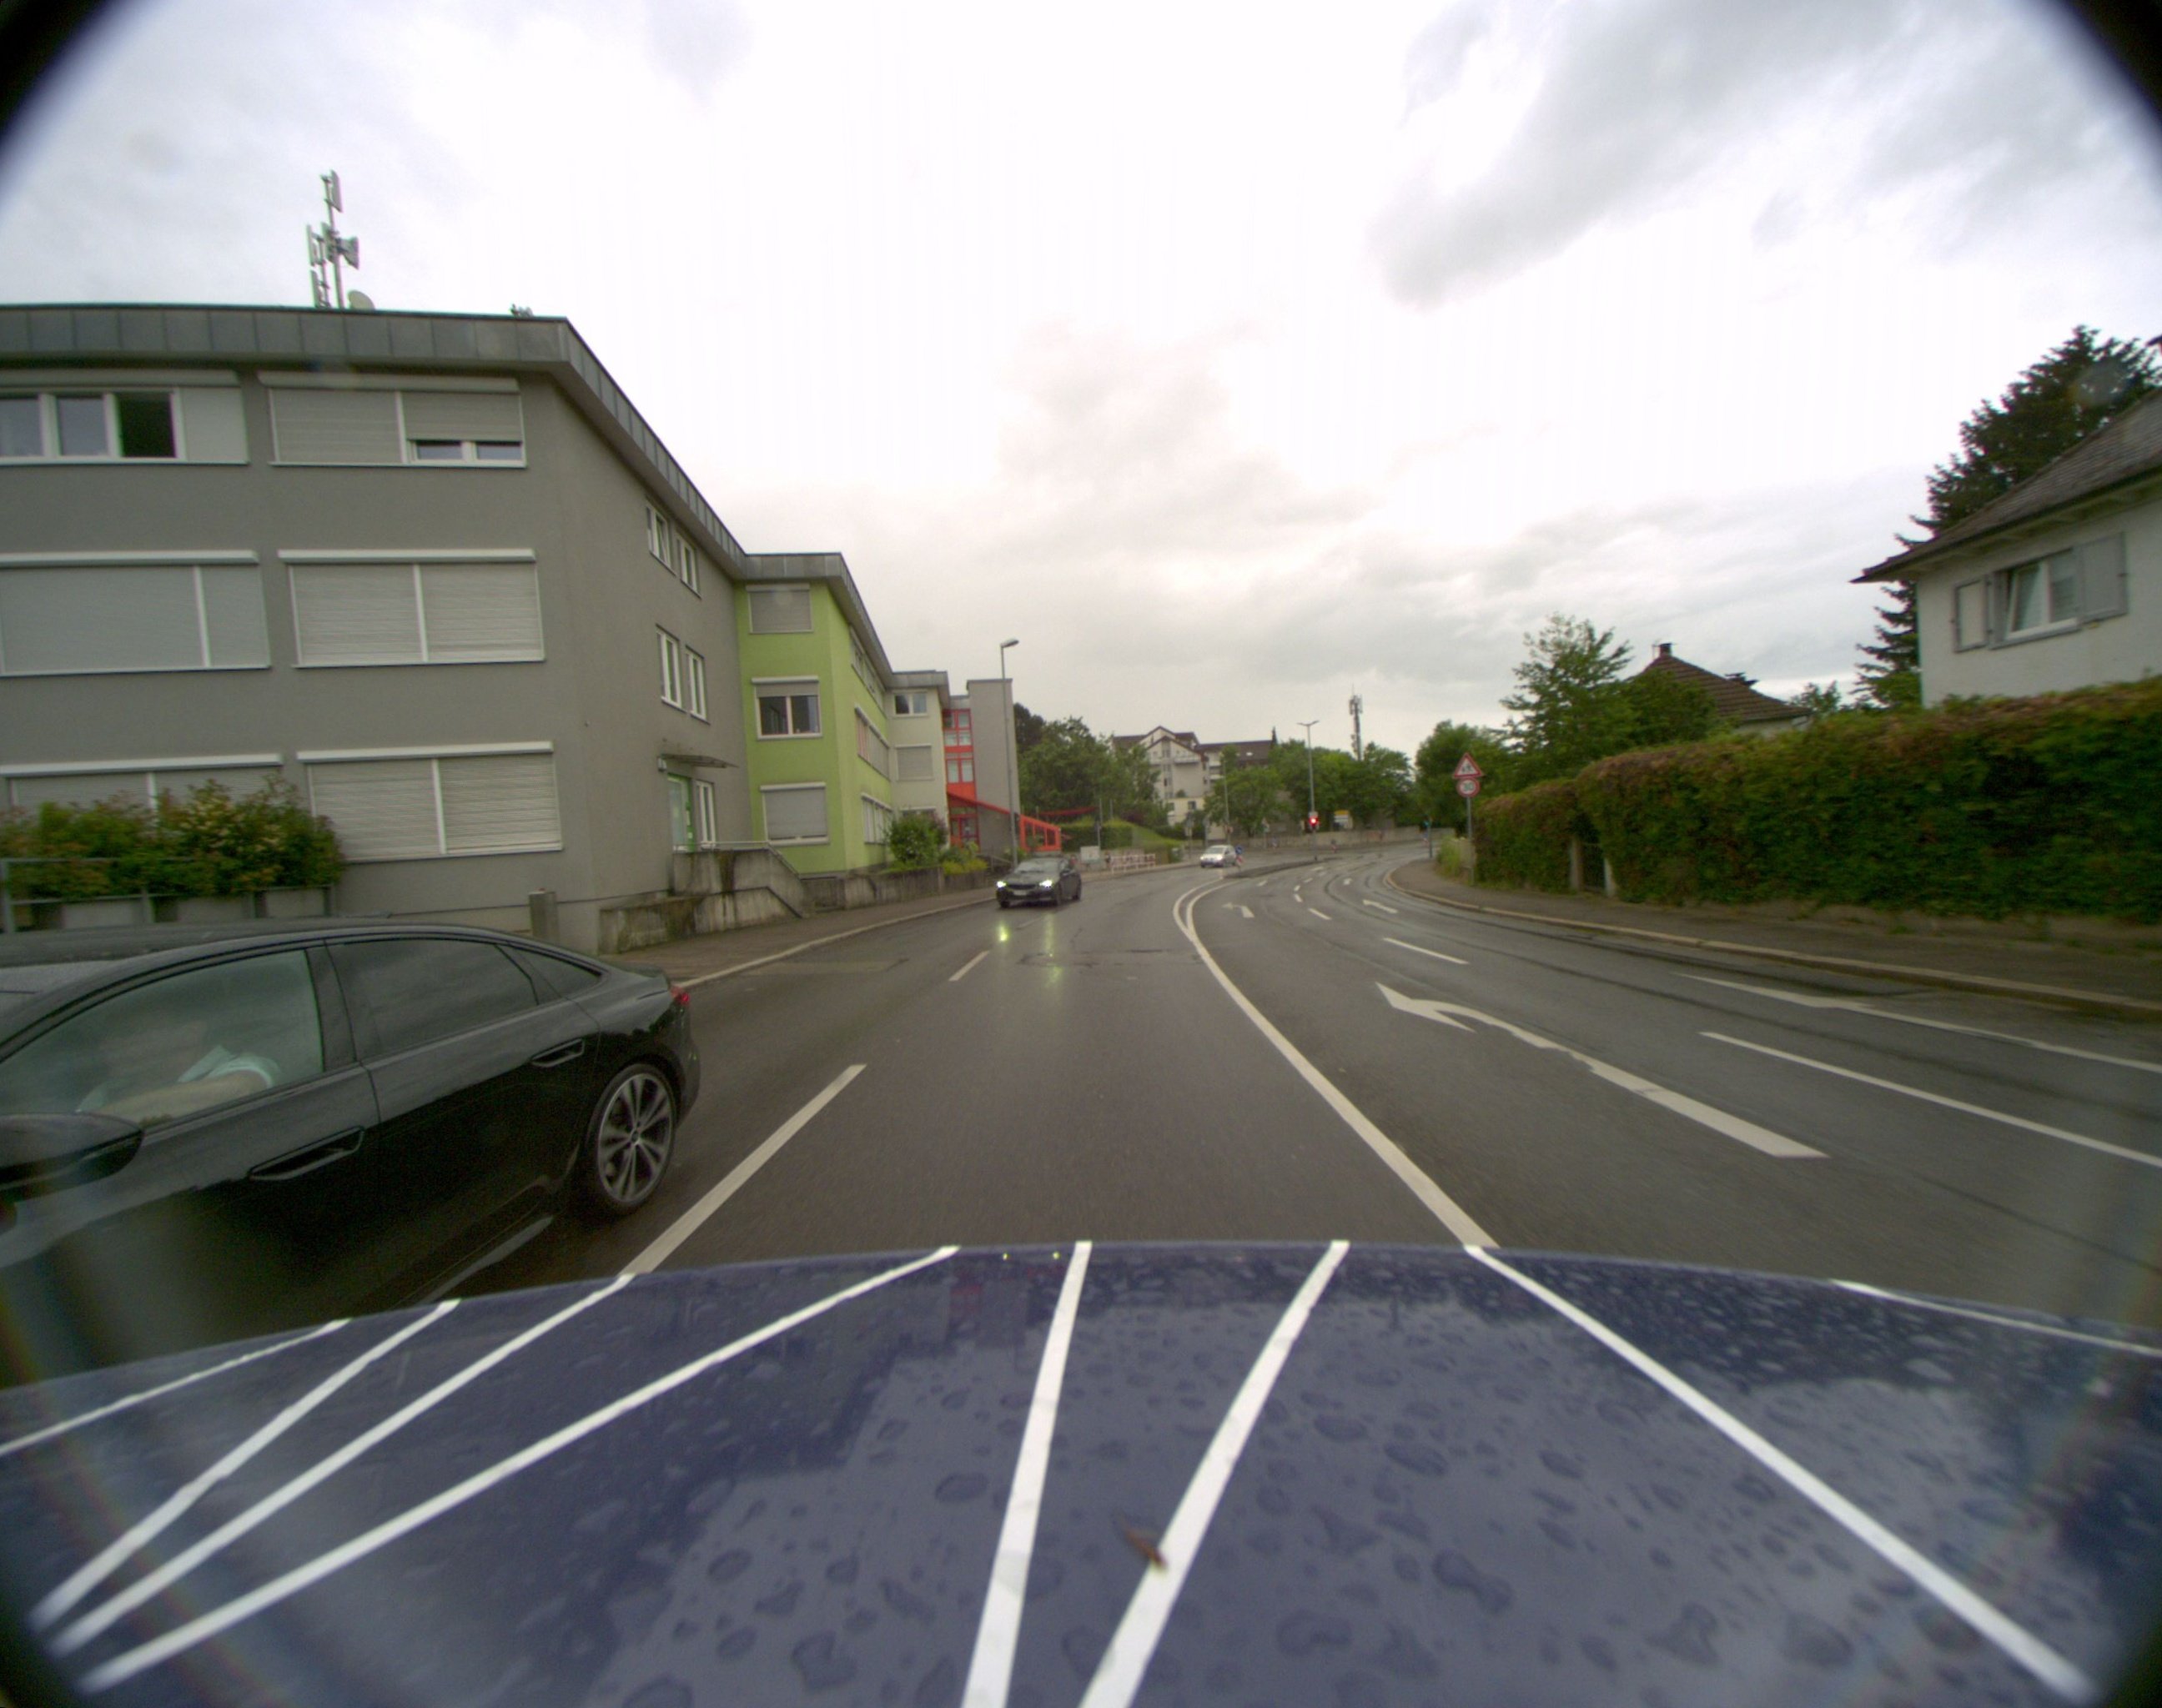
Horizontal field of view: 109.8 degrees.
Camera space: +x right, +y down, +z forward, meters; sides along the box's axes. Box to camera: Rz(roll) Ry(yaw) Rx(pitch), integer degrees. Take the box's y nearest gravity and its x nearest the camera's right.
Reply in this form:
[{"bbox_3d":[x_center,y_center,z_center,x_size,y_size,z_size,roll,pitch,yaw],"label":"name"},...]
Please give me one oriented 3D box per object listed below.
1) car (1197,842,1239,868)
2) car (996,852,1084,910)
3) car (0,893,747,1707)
[{"bbox_3d":[10.005,0.039,55.327,1.995,1.647,4.005,-2,3,25],"label":"car"},{"bbox_3d":[-1.231,0.820,24.823,1.871,1.511,4.001,-3,2,11],"label":"car"},{"bbox_3d":[-2.940,1.065,1.892,1.871,1.416,4.738,-3,2,2],"label":"car"}]
